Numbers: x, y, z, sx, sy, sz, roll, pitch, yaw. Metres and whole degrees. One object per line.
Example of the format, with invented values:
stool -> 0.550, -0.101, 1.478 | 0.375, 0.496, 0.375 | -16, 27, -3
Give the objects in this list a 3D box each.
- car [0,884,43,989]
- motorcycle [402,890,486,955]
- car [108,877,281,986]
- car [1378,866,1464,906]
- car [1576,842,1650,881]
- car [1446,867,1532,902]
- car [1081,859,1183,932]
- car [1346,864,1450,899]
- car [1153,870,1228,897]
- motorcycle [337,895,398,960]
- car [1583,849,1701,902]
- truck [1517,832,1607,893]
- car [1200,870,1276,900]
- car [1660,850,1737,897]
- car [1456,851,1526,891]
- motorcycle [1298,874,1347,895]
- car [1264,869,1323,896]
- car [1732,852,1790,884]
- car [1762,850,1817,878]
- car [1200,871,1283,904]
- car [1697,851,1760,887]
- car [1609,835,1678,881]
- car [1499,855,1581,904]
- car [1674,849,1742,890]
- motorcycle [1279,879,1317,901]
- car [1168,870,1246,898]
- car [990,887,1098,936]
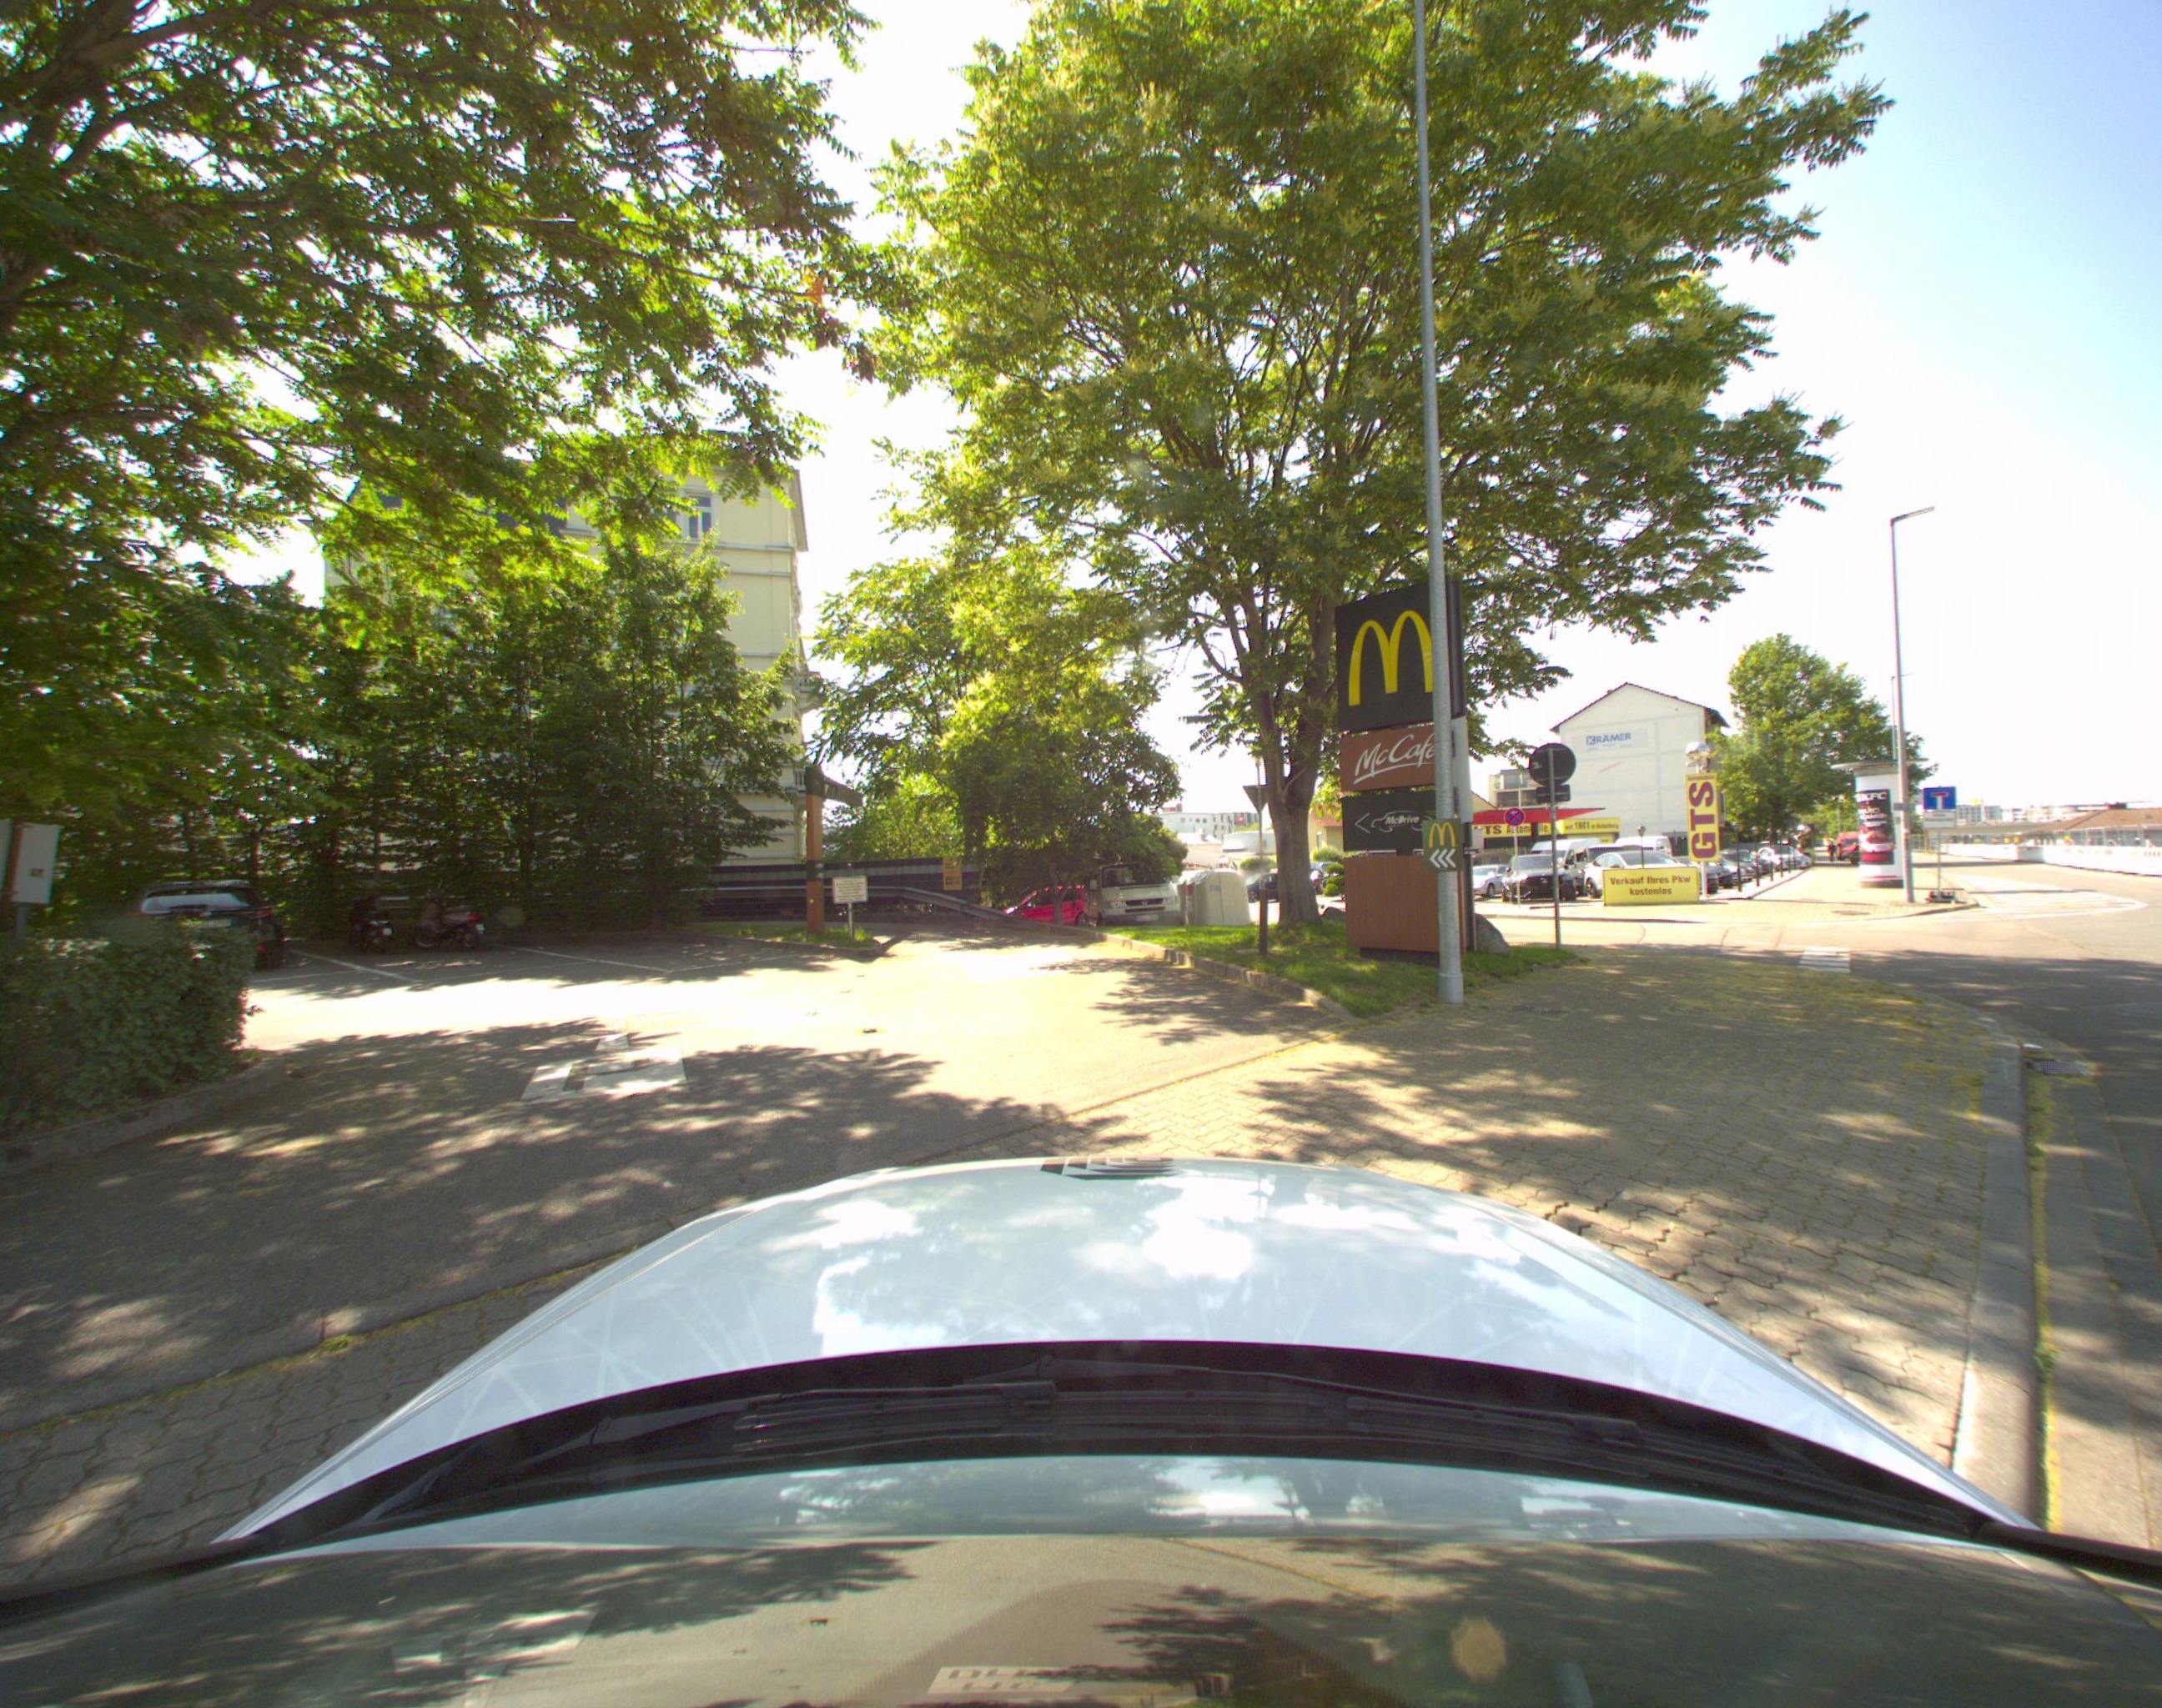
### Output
car -> -17.852, 1.284, 12.780 | 3.949, 1.453, 1.715 | -1, 1, 41
motorcycle -> -12.046, 1.281, 15.396 | 1.586, 1.169, 0.573 | -2, -1, 25
car -> -15.124, 1.194, 13.843 | 3.854, 1.469, 1.672 | 0, 1, 38
car -> 13.610, 1.236, 32.529 | 1.771, 1.510, 4.023 | -2, -2, 45
car -> 25.010, 0.331, 38.220 | 4.749, 1.738, 1.860 | 0, -1, -43
car -> 18.195, 1.320, 36.259 | 4.017, 1.487, 1.774 | 0, -2, -36
car -> 1.132, 0.935, 20.459 | 1.948, 1.583, 5.024 | 0, 0, -4
car -> 15.167, 1.321, 39.195 | 4.296, 1.585, 2.004 | -1, -1, 8
car -> 7.416, 1.984, 55.217 | 4.658, 1.726, 1.985 | 0, -2, -22
motorcycle -> -13.459, 1.367, 15.352 | 1.585, 1.141, 0.478 | -2, -1, 35
car -> 19.396, 0.758, 28.376 | 1.980, 1.726, 4.013 | -1, -2, 12
truck -> 24.918, 0.412, 42.077 | 5.975, 2.904, 2.249 | 0, -1, -42
car -> 9.278, 1.819, 48.078 | 4.003, 1.726, 1.985 | 0, -2, -23
car -> 23.189, 0.710, 30.714 | 1.838, 1.629, 4.025 | -2, -1, 31
car -> 22.229, 0.905, 44.032 | 4.521, 2.014, 1.975 | 1, -2, -44
motorcycle -> 14.132, 1.772, 47.643 | 2.721, 1.227, 0.991 | 0, -1, -23
car -> 13.373, 1.787, 51.480 | 1.996, 1.585, 3.982 | 0, -1, -13
car -> 37.345, 0.752, 44.815 | 1.838, 1.629, 4.025 | -2, -1, 31
car -> 43.581, 0.628, 50.161 | 1.838, 1.629, 4.025 | -2, -1, 31
car -> 8.811, 1.801, 44.764 | 3.995, 1.706, 1.989 | 0, -1, -16
car -> 30.956, 0.694, 39.046 | 1.838, 1.629, 4.025 | -2, -1, 31
car -> 29.372, 0.210, 42.454 | 2.116, 2.284, 4.738 | -2, -2, 44
car -> 16.099, 0.877, 28.764 | 2.028, 1.595, 4.447 | -1, -1, 23
car -> 26.928, 0.651, 35.106 | 1.838, 1.629, 4.025 | -2, -1, 31
motorcycle -> 11.933, 1.981, 44.842 | 1.864, 1.159, 0.789 | 0, -1, -3
car -> 8.192, 1.929, 52.934 | 4.658, 1.726, 1.985 | 0, -2, -22
car -> -1.268, 1.907, 27.563 | 3.408, 1.378, 1.479 | -2, 1, -14
